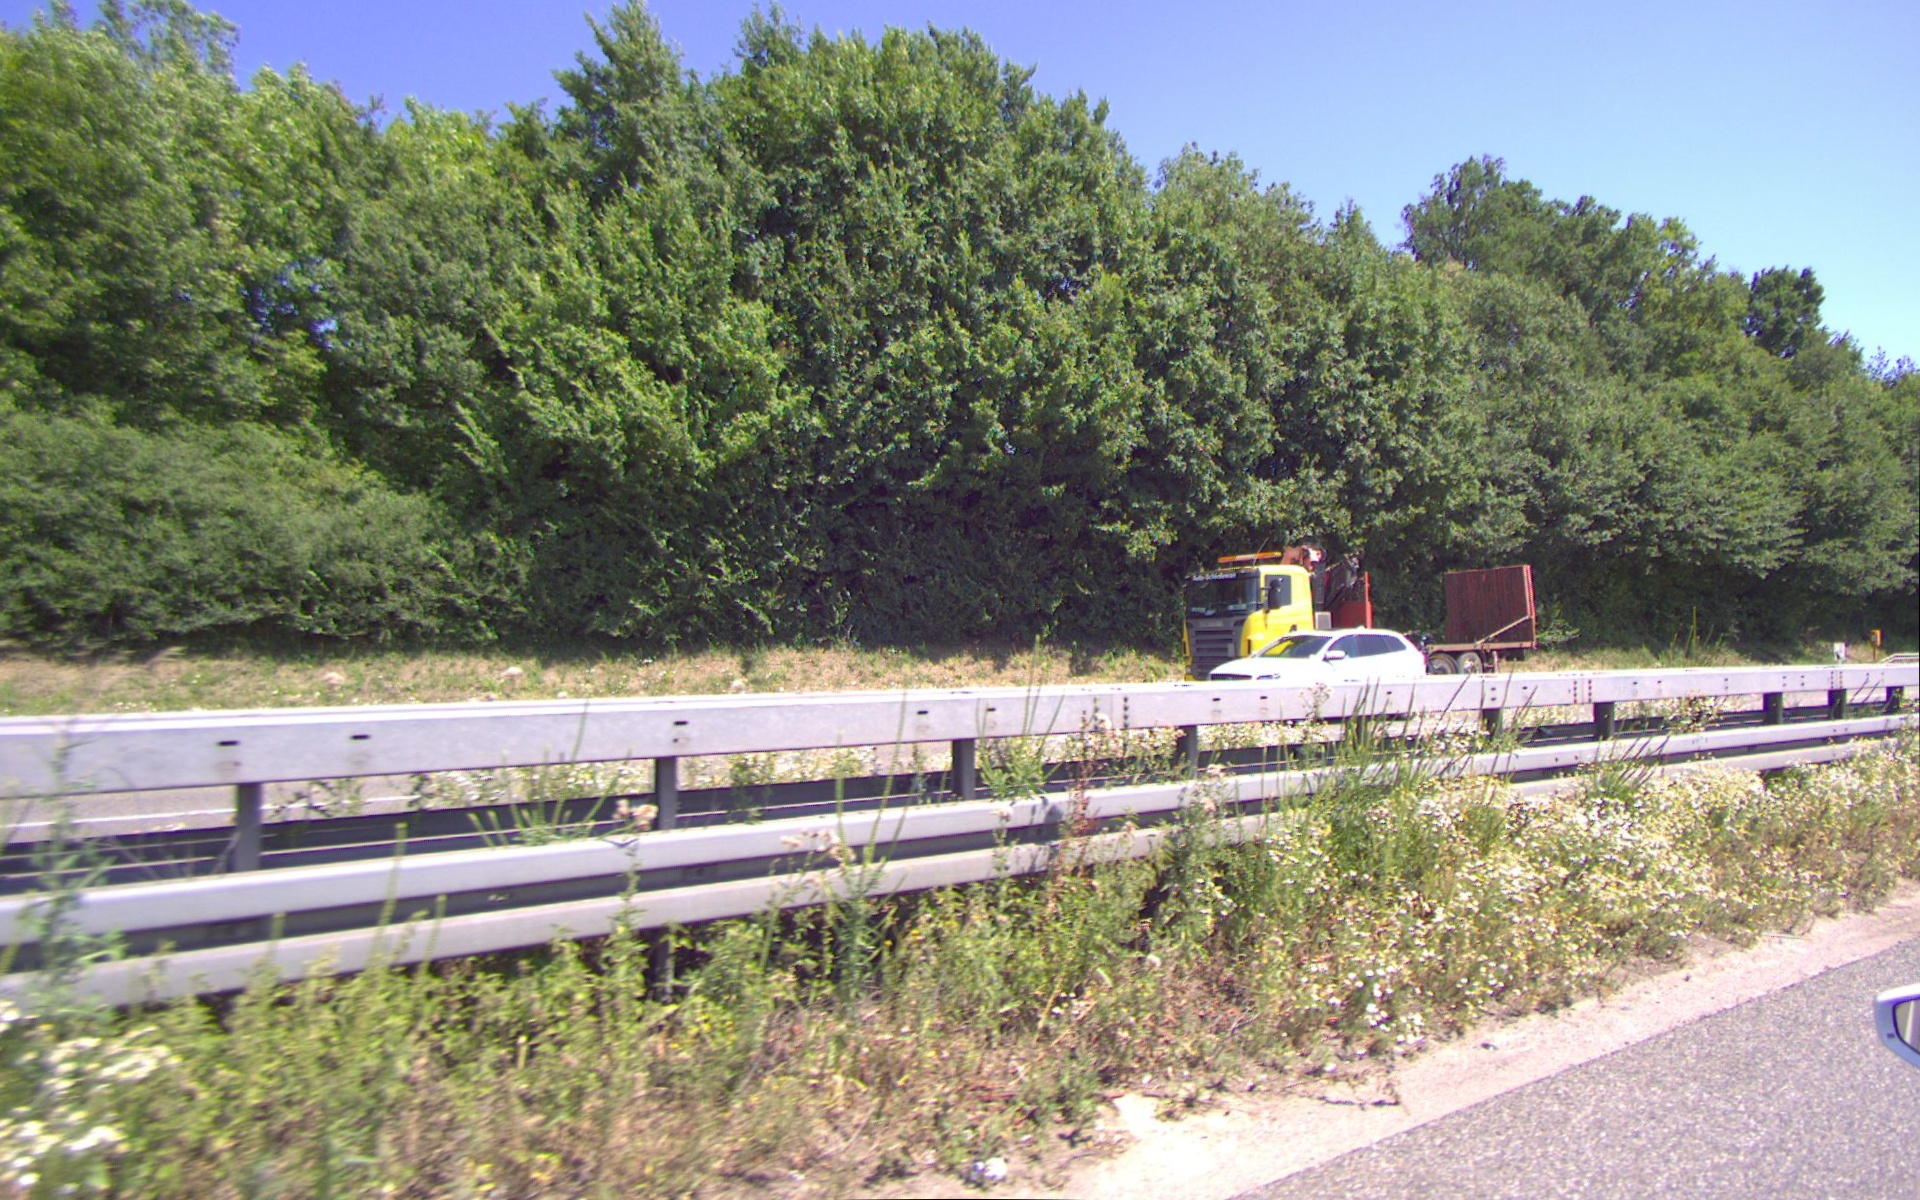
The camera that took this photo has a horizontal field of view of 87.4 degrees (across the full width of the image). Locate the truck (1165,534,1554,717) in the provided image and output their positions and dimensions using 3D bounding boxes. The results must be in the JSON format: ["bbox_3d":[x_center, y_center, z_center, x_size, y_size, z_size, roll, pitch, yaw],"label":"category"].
[{"bbox_3d":[10.217,0.666,24.883,11.029,3.788,2.769,2,0,-31],"label":"truck"}]

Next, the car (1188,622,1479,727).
[{"bbox_3d":[6.947,1.327,18.492,5.546,1.692,1.984,2,-4,-31],"label":"car"}]
